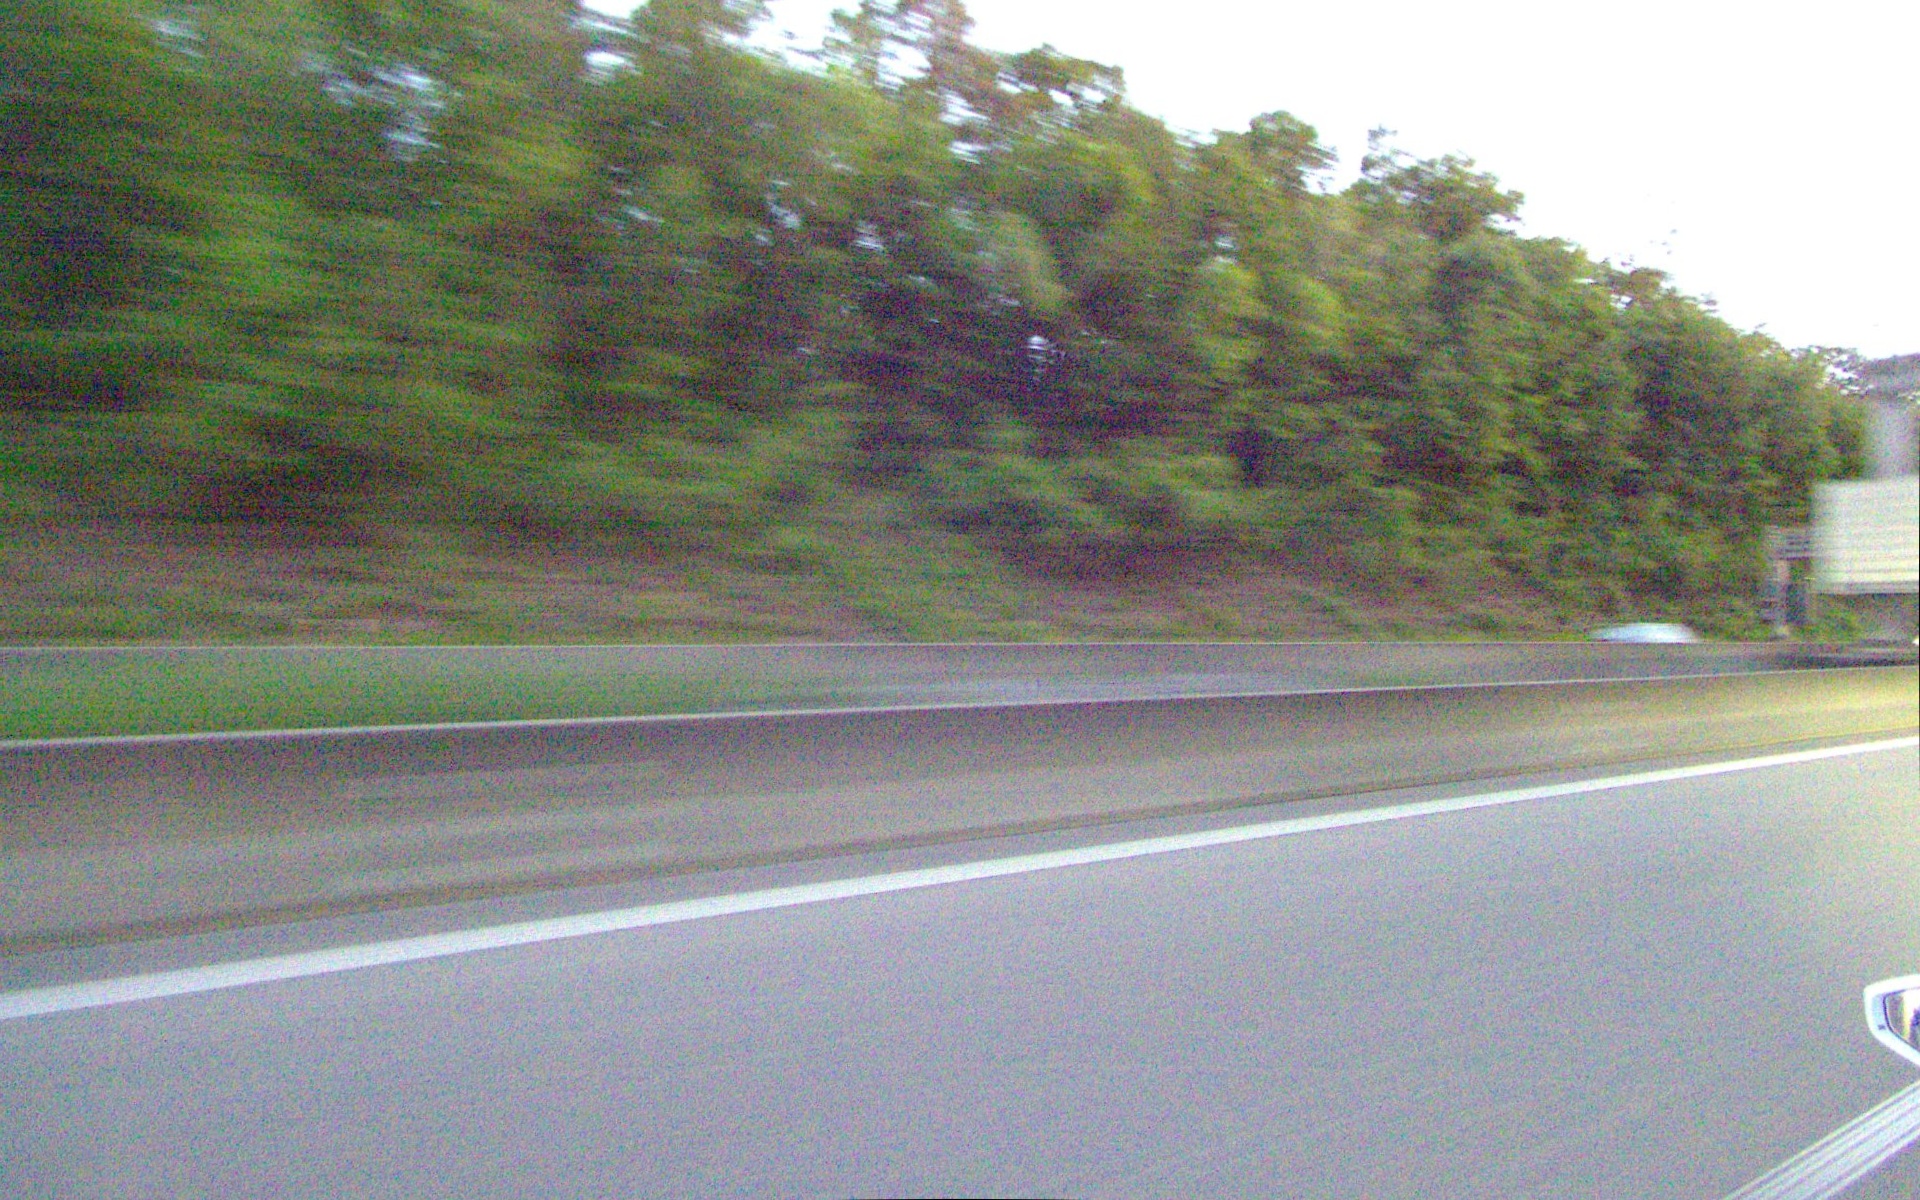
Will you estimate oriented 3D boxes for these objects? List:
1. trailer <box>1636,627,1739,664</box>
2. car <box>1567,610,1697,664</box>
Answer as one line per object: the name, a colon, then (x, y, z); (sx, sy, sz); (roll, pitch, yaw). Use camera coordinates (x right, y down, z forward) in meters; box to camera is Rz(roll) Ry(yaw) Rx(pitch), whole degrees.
trailer: (26.742, 1.657, 36.924); (3.086, 1.265, 1.984); (1, 0, -30)
car: (23.442, 1.276, 34.996); (4.519, 1.759, 1.984); (1, 0, -30)
